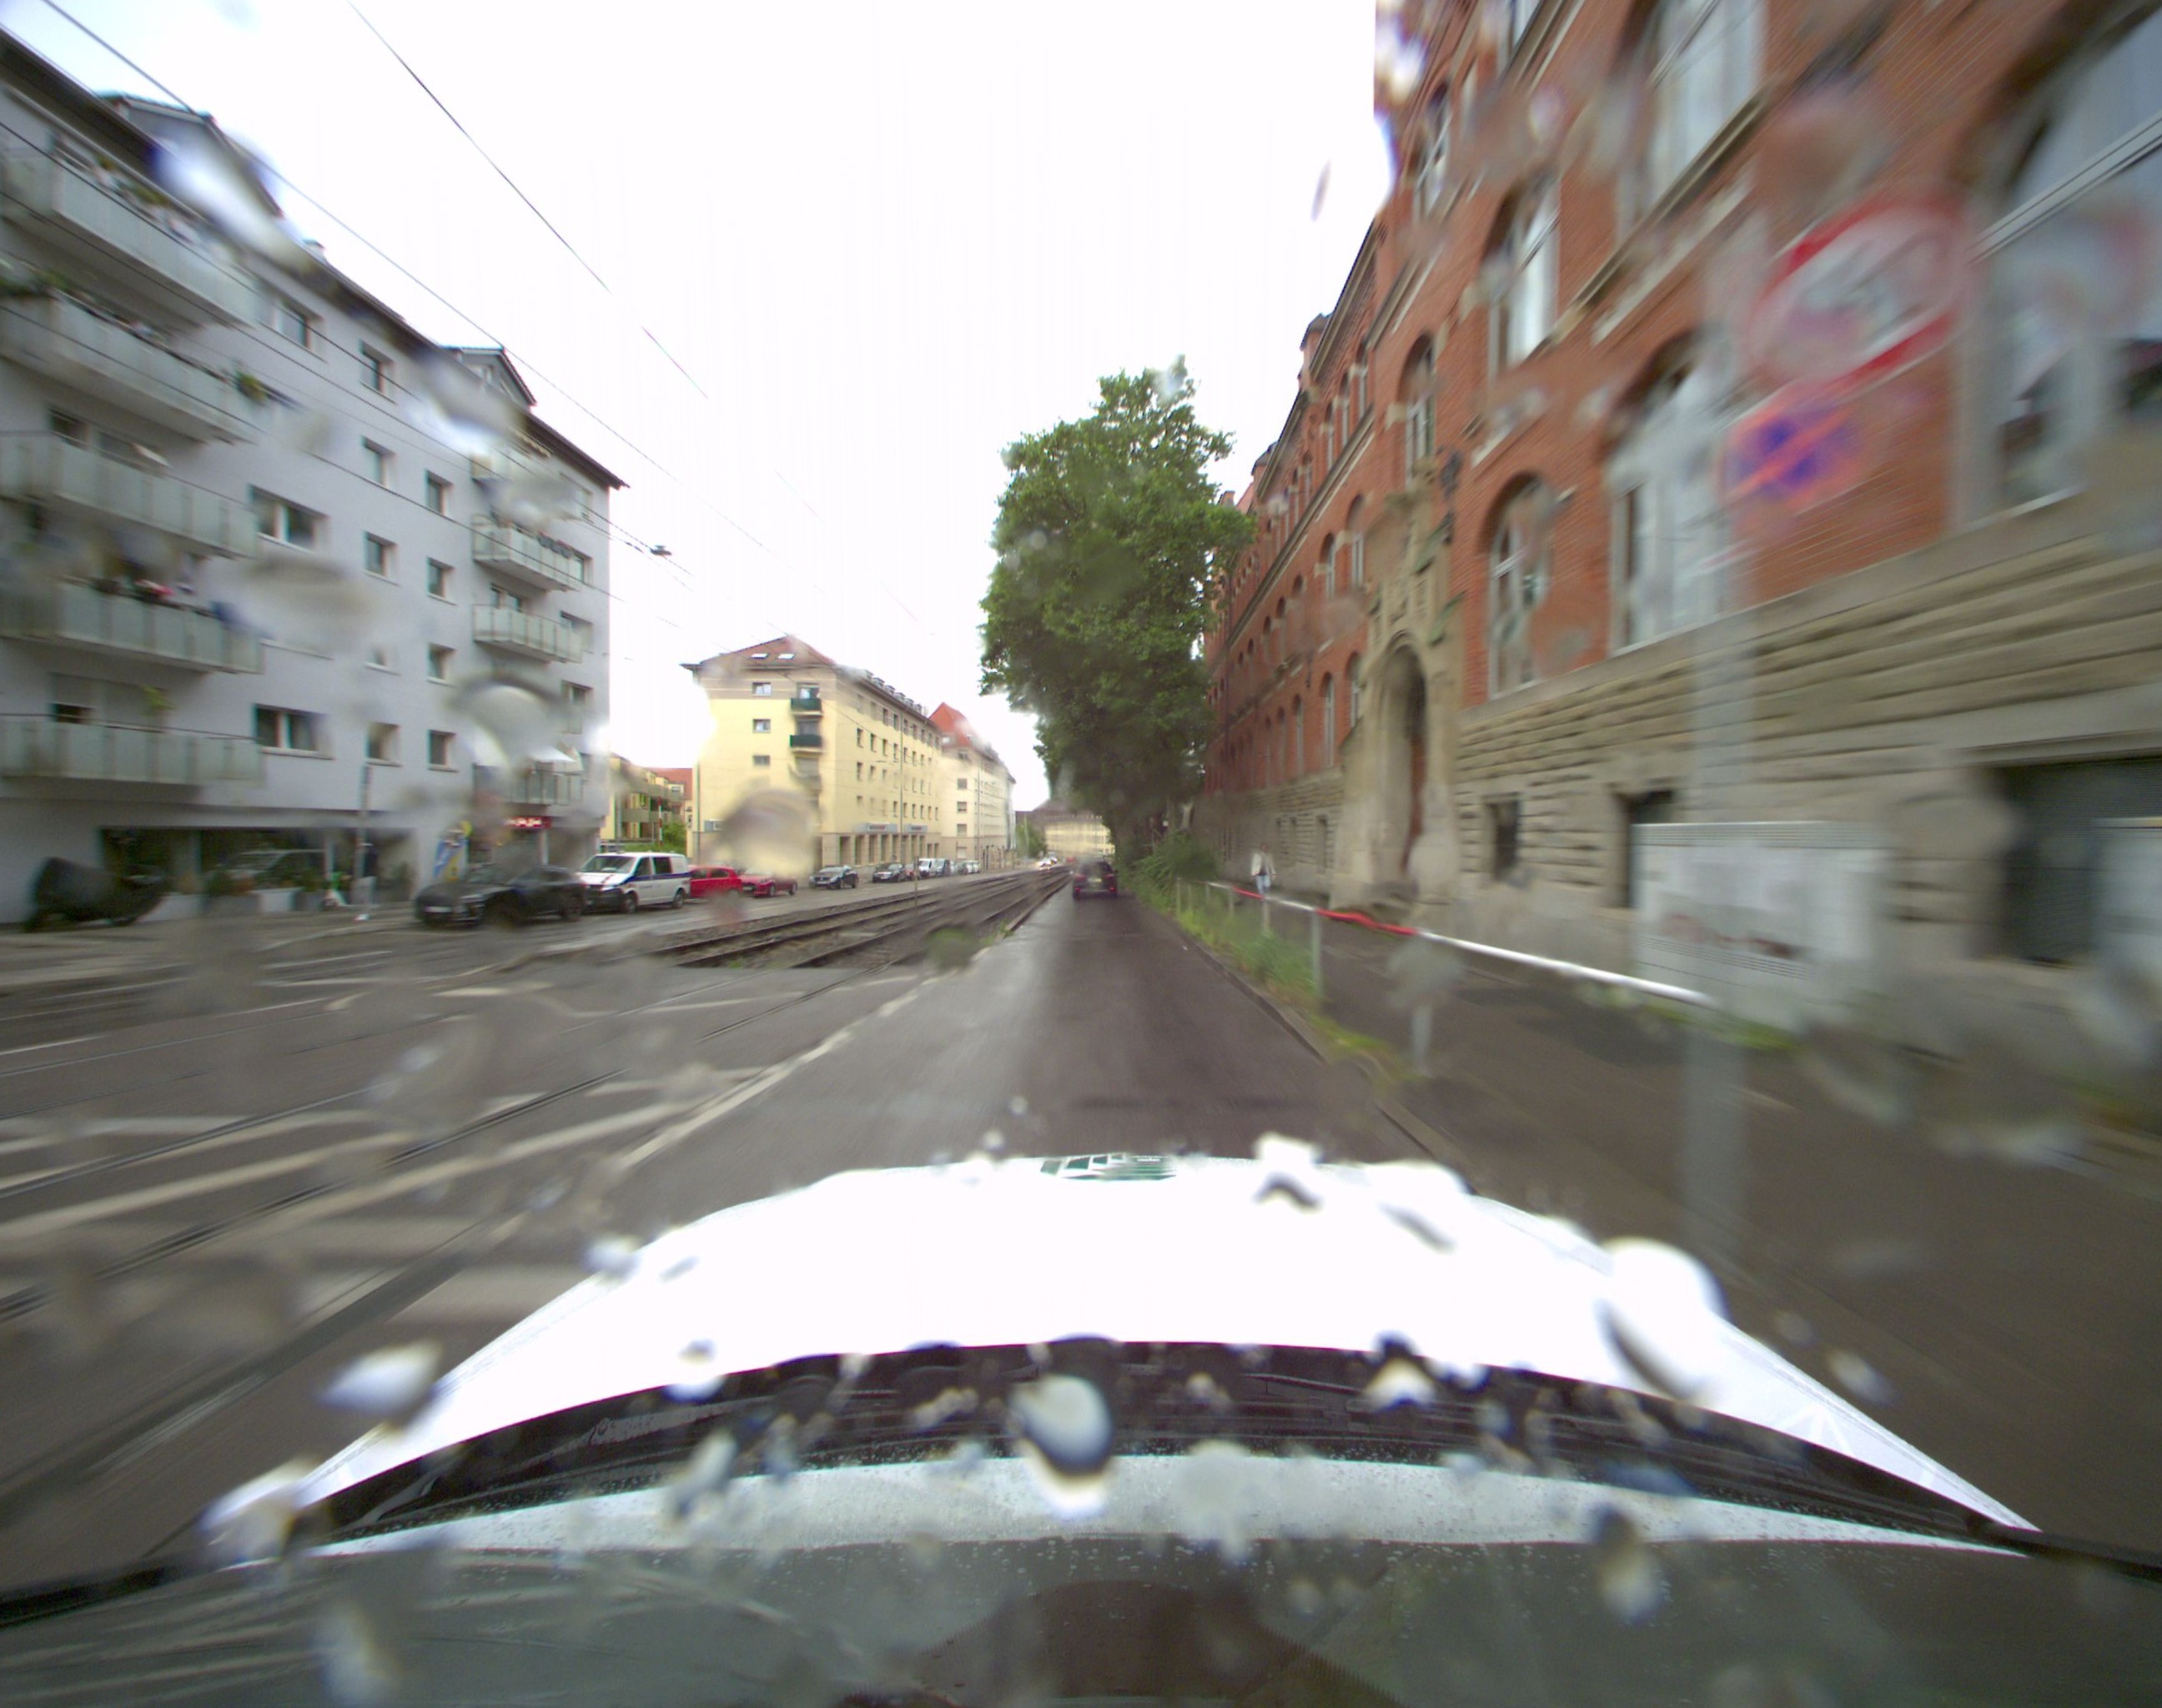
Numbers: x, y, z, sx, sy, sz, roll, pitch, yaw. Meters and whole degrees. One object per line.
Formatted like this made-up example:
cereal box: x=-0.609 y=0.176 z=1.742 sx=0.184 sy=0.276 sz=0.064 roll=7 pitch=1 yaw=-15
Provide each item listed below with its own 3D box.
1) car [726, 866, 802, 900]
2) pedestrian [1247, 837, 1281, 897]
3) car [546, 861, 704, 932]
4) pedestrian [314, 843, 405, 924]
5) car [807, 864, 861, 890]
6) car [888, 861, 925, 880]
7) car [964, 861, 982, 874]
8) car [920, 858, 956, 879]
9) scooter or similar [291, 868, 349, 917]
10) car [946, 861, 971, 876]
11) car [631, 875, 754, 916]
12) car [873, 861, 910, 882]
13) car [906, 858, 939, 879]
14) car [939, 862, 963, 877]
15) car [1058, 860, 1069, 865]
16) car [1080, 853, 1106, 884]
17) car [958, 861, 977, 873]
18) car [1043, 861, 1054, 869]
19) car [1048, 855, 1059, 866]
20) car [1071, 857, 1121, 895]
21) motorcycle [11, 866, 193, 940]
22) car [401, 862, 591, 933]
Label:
car: x=-14.595 y=1.292 z=37.714 sx=1.645 sy=1.451 sz=4.079 roll=-1 pitch=-1 yaw=5
pedestrian: x=5.302 y=0.371 z=23.593 sx=0.819 sy=1.678 sz=0.861 roll=-1 pitch=-1 yaw=4
car: x=-14.980 y=1.299 z=27.202 sx=2.062 sy=2.009 sz=5.303 roll=2 pitch=0 yaw=1
pedestrian: x=-17.612 y=0.698 z=19.919 sx=1.170 sy=1.929 sz=1.175 roll=0 pitch=-1 yaw=-6
car: x=-14.184 y=1.287 z=47.071 sx=1.674 sy=1.396 sz=4.622 roll=-1 pitch=-1 yaw=0
car: x=-14.134 y=1.342 z=66.215 sx=1.844 sy=1.432 sz=4.833 roll=1 pitch=-1 yaw=2
car: x=-13.284 y=1.666 z=100.439 sx=1.703 sy=1.450 sz=3.540 roll=1 pitch=-1 yaw=-1
car: x=-13.555 y=1.340 z=77.770 sx=1.984 sy=1.905 sz=5.467 roll=1 pitch=0 yaw=5
scooter or similar: x=-20.492 y=1.032 z=21.933 sx=1.089 sy=1.209 sz=0.315 roll=-4 pitch=-1 yaw=-10
car: x=-13.142 y=1.546 z=87.481 sx=1.807 sy=1.499 sz=4.584 roll=0 pitch=0 yaw=1
car: x=-15.150 y=1.589 z=31.954 sx=1.762 sy=1.434 sz=4.007 roll=-1 pitch=-1 yaw=35
car: x=-14.035 y=1.279 z=60.436 sx=1.847 sy=1.508 sz=4.985 roll=-1 pitch=-1 yaw=-4
car: x=-13.906 y=1.269 z=71.787 sx=1.860 sy=1.717 sz=4.462 roll=-1 pitch=-1 yaw=2
car: x=-13.210 y=1.536 z=82.900 sx=1.685 sy=1.439 sz=4.051 roll=-2 pitch=-1 yaw=2
car: x=-5.522 y=2.572 z=255.310 sx=2.004 sy=1.542 sz=3.966 roll=-2 pitch=0 yaw=-25
car: x=0.793 y=0.992 z=56.066 sx=1.735 sy=2.014 sz=3.903 roll=-1 pitch=-1 yaw=0
car: x=-13.336 y=1.533 z=95.693 sx=1.699 sy=1.396 sz=3.932 roll=1 pitch=-1 yaw=-2
car: x=-6.455 y=2.148 z=161.049 sx=1.705 sy=1.462 sz=4.283 roll=-1 pitch=-1 yaw=2
car: x=-6.177 y=1.461 z=185.774 sx=1.986 sy=2.452 sz=6.001 roll=-1 pitch=-1 yaw=2
car: x=0.589 y=0.868 z=33.243 sx=1.927 sy=1.453 sz=4.317 roll=0 pitch=-1 yaw=0
motorcycle: x=-20.089 y=0.960 z=16.819 sx=0.925 sy=1.376 sz=2.310 roll=-1 pitch=-1 yaw=2
car: x=-14.978 y=1.042 z=21.208 sx=1.727 sy=1.651 sz=4.364 roll=0 pitch=-1 yaw=1
